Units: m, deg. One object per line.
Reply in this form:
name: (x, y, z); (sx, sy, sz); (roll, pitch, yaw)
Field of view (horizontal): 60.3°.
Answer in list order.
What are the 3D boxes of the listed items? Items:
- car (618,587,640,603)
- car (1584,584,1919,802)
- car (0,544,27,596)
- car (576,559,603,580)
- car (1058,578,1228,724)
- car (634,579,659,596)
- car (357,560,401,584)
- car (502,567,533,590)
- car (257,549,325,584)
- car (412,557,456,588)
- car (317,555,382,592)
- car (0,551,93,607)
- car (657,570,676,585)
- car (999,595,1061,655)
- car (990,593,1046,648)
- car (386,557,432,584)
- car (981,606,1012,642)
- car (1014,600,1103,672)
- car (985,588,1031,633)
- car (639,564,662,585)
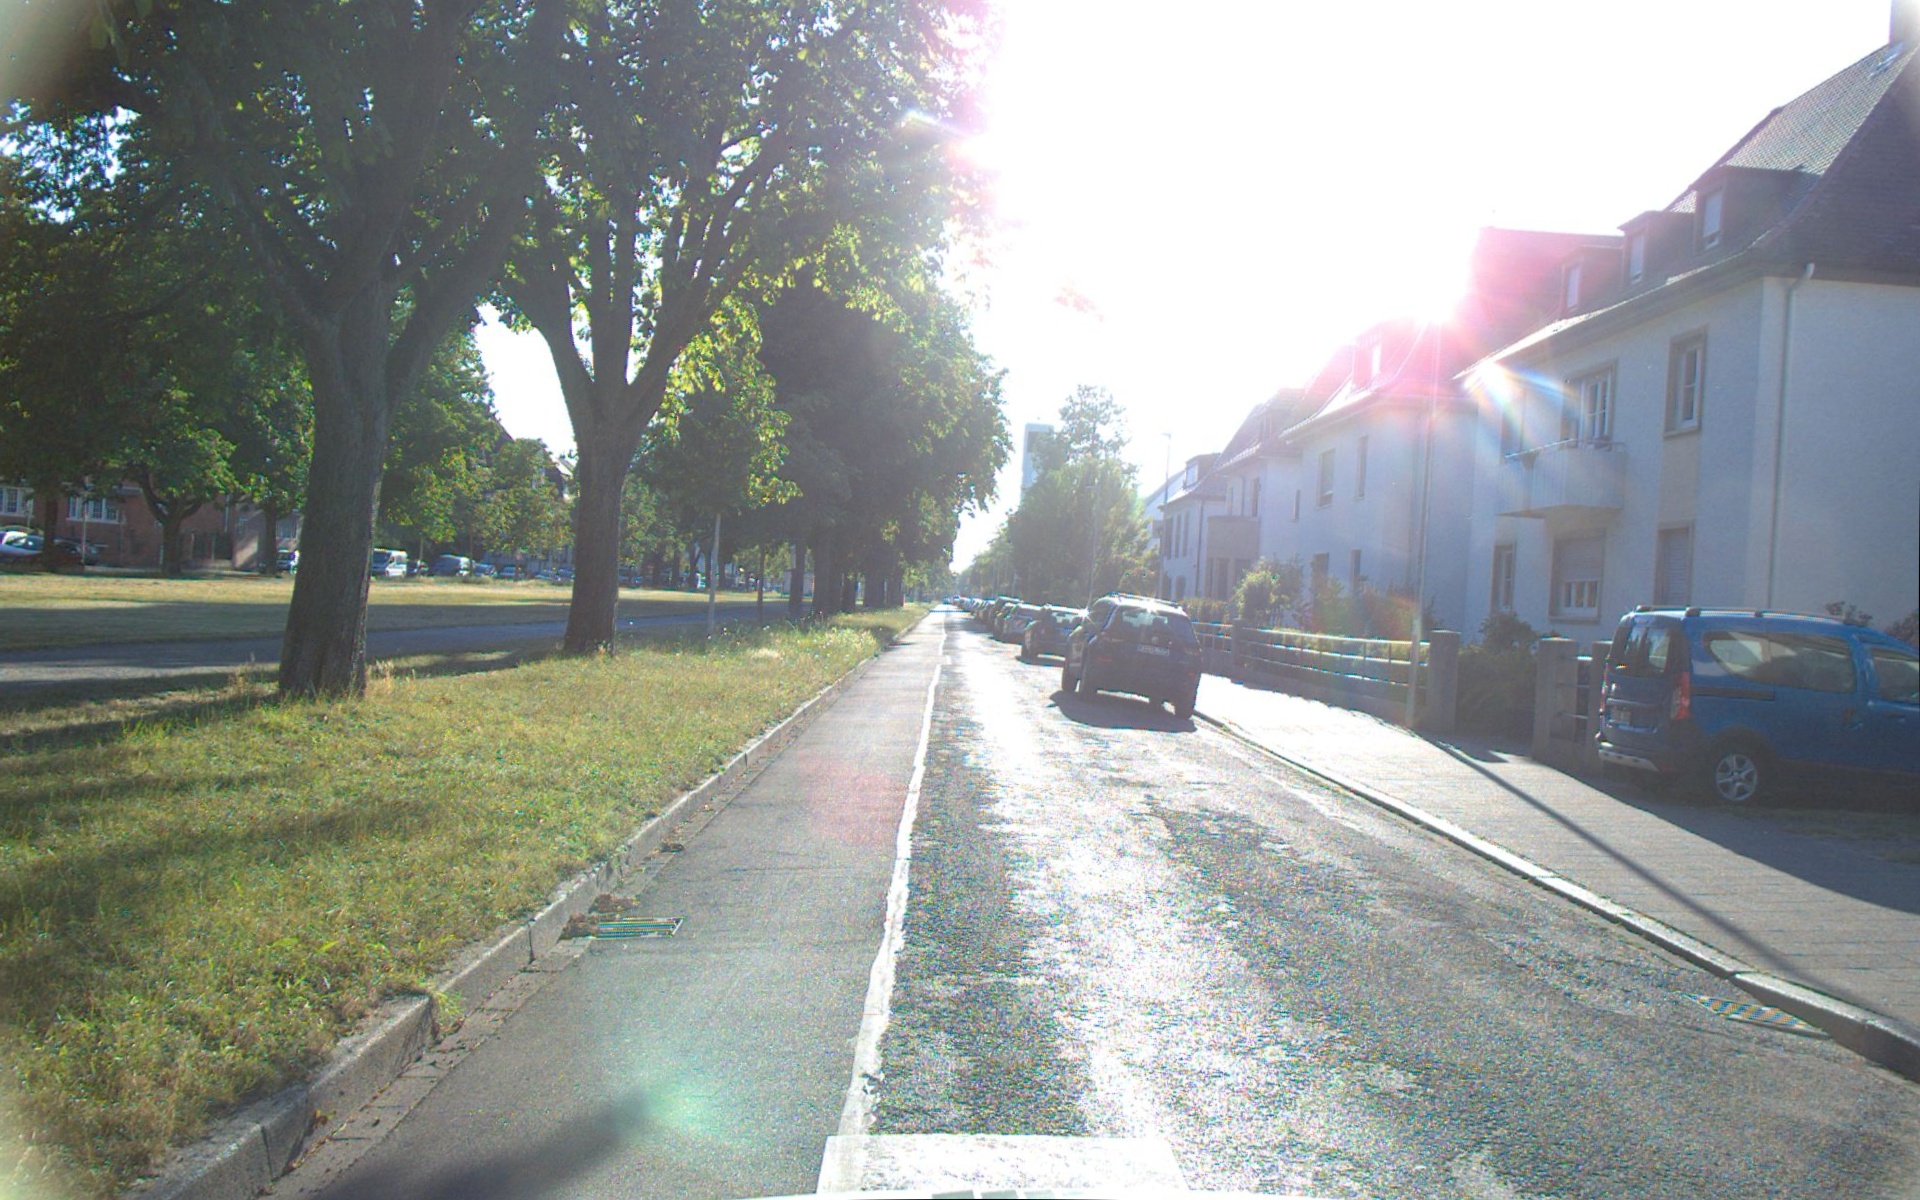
car: (-39.821, -0.593, 199.043); (1.842, 1.782, 3.796); (6, -1, -1)
car: (8.348, 0.973, 16.063); (3.909, 1.854, 1.757); (3, -6, -5)
car: (-39.474, -1.302, 66.148); (1.954, 2.048, 3.998); (6, -1, -2)
car: (-41.160, -3.373, 183.584); (1.954, 1.946, 3.999); (6, -1, -1)
car: (2.848, 0.736, 26.726); (1.955, 1.935, 4.388); (7, 0, -2)
car: (-34.741, -1.410, 183.538); (1.953, 1.764, 3.999); (4, 0, -1)
car: (-39.618, -1.926, 112.824); (1.649, 1.365, 3.470); (6, -1, -1)
car: (-39.240, -1.898, 146.705); (1.695, 1.792, 3.345); (6, -1, -1)
car: (-39.002, -1.922, 96.531); (1.953, 1.687, 4.355); (6, -1, 1)
car: (-35.018, -1.798, 110.226); (1.694, 1.718, 3.876); (6, -2, -2)
car: (-33.537, -1.449, 90.972); (1.982, 1.687, 3.983); (6, -1, 0)
car: (-33.643, -0.756, 60.215); (1.775, 1.811, 4.122); (6, -1, 0)
car: (-42.056, -3.220, 237.216); (1.953, 2.048, 3.999); (4, 0, -1)
car: (2.701, 0.971, 64.474); (1.954, 2.048, 3.998); (6, -1, -1)
car: (2.431, 0.869, 70.203); (1.954, 2.048, 3.998); (6, -1, -1)
car: (-39.967, -2.100, 120.047); (1.954, 1.646, 3.998); (6, -1, -2)
car: (2.280, 1.511, 103.645); (1.657, 2.048, 3.624); (6, -1, -1)
car: (2.575, 0.950, 44.179); (1.954, 1.682, 3.998); (4, -1, -2)
car: (2.417, 0.528, 84.298); (1.954, 2.048, 3.998); (6, -1, -1)
car: (-33.189, -2.773, 177.426); (1.621, 1.970, 3.568); (6, 2, -1)
